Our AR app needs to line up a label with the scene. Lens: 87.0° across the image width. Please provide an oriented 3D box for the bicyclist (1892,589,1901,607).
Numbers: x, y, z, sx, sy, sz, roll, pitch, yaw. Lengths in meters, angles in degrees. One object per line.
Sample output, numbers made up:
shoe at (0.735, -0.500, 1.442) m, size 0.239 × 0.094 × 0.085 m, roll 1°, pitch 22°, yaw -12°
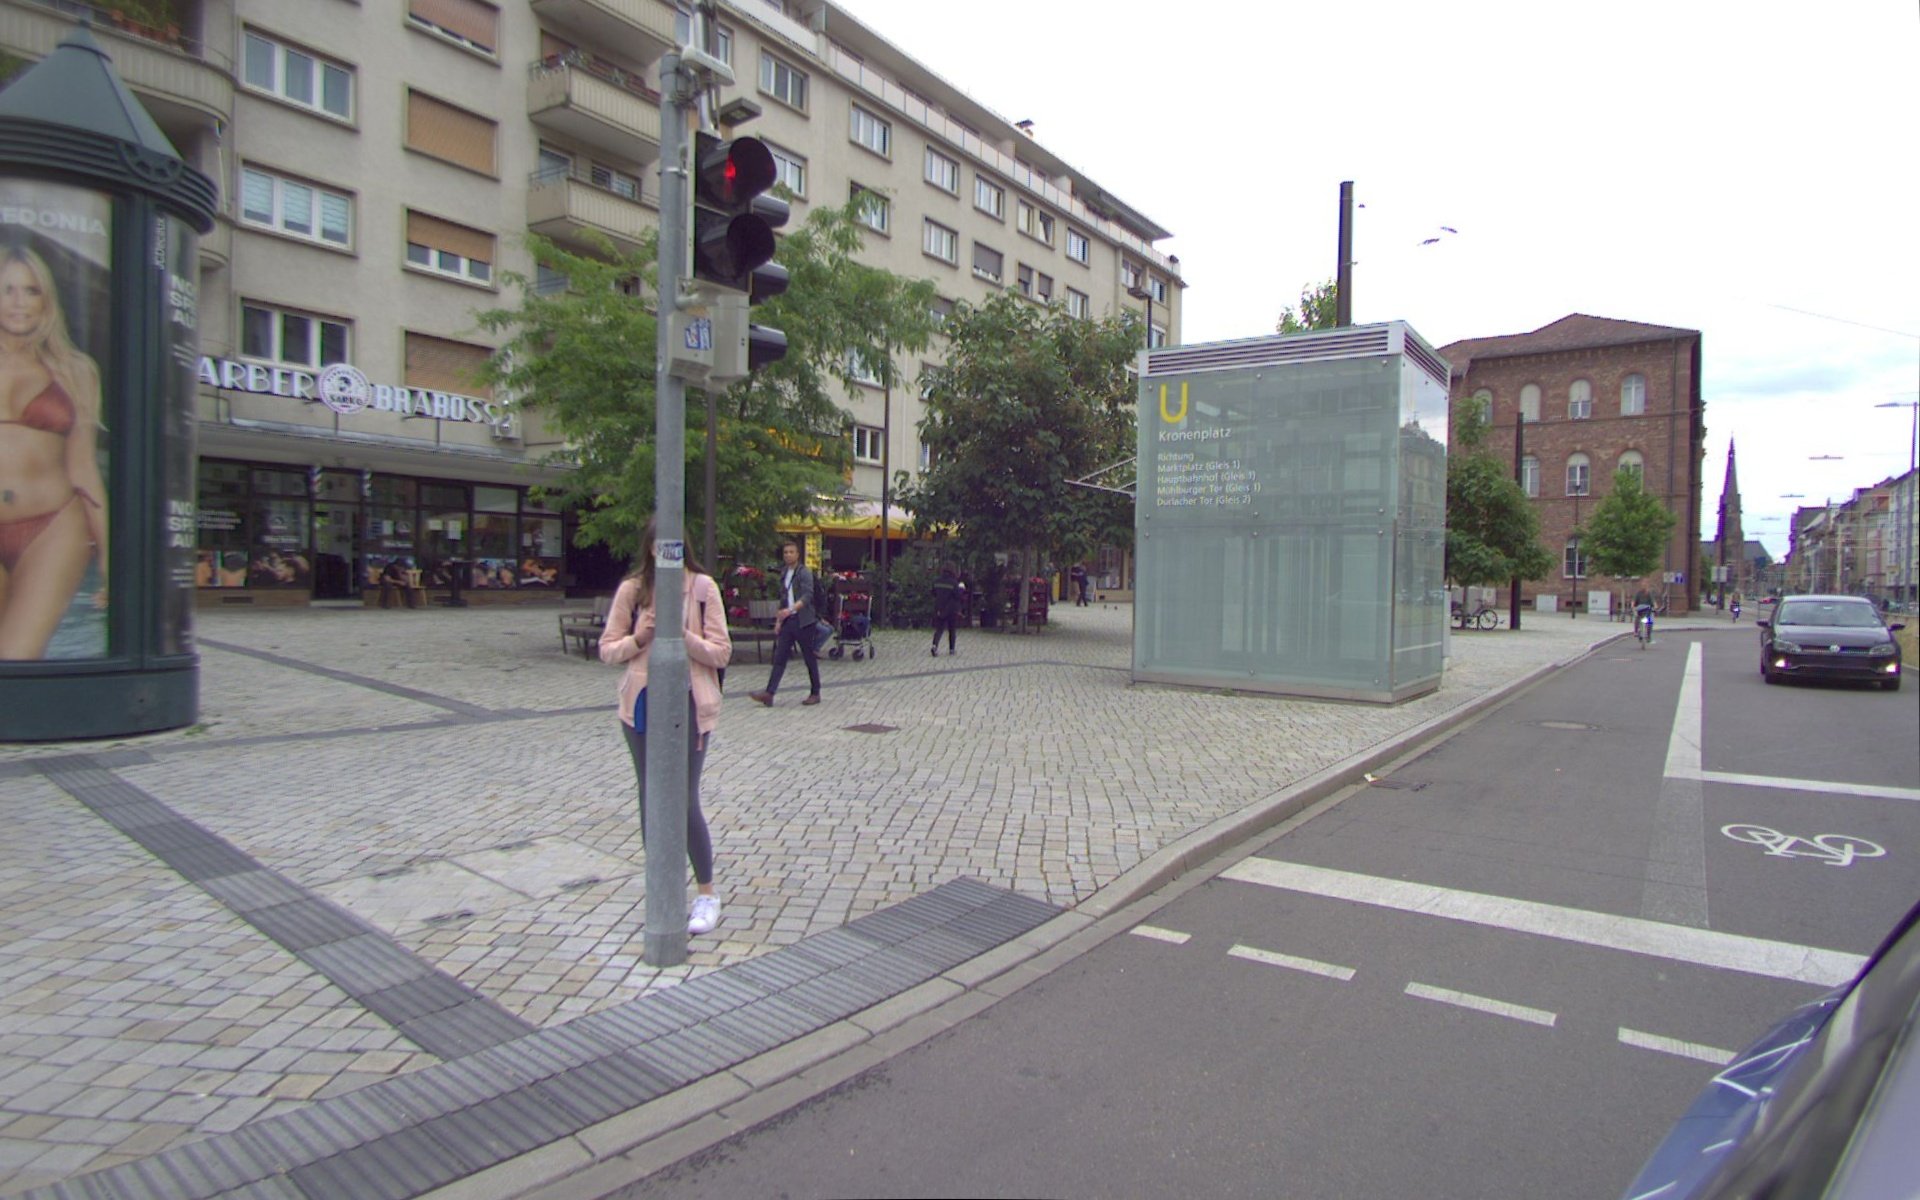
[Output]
bicyclist at (99.781, -0.179, 107.800) m, size 0.644 × 1.907 × 1.014 m, roll 0°, pitch 0°, yaw 38°

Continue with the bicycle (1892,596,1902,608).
bicycle at (99.722, 0.181, 107.685) m, size 0.584 × 1.188 × 2.016 m, roll 4°, pitch 2°, yaw 38°

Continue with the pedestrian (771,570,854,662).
pedestrian at (-2.256, 0.217, 15.427) m, size 1.044 × 1.313 × 0.722 m, roll 4°, pitch 3°, yaw 43°

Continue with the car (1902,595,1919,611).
car at (110.660, 0.361, 117.402) m, size 1.700 × 1.778 × 3.865 m, roll 3°, pitch 2°, yaw 38°

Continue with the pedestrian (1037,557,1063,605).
pedestrian at (3.634, -0.753, 40.867) m, size 0.834 × 1.909 × 0.777 m, roll 0°, pitch 0°, yaw -14°

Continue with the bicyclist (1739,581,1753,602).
bicyclist at (43.953, -0.477, 56.607) m, size 0.584 × 1.186 × 0.654 m, roll 2°, pitch 1°, yaw 36°

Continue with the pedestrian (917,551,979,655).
pedestrian at (-0.198, 0.037, 17.177) m, size 0.623 × 1.705 × 0.860 m, roll 3°, pitch 2°, yaw 33°

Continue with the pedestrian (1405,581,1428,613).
pedestrian at (22.300, -0.139, 49.449) m, size 0.767 × 1.473 × 0.767 m, roll 3°, pitch 2°, yaw 8°

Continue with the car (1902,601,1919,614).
car at (107.546, 0.859, 113.888) m, size 1.641 × 1.398 × 3.394 m, roll 3°, pitch 1°, yaw 34°

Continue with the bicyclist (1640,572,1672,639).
bicyclist at (18.080, 0.127, 26.289) m, size 0.569 × 1.705 × 0.781 m, roll 1°, pitch 1°, yaw 43°

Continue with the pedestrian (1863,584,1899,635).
pedestrian at (36.134, 0.360, 39.718) m, size 0.867 × 1.925 × 0.763 m, roll 3°, pitch 1°, yaw 36°

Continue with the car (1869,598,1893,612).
car at (122.407, 0.609, 134.550) m, size 1.918 × 1.754 × 3.777 m, roll 0°, pitch 1°, yaw 36°

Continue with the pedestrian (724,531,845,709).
pedestrian at (-1.920, 0.191, 11.126) m, size 0.712 × 1.824 × 1.064 m, roll 5°, pitch 3°, yaw 36°

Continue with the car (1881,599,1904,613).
car at (115.746, 0.695, 125.628) m, size 1.697 × 1.692 × 4.124 m, roll 0°, pitch 1°, yaw 38°

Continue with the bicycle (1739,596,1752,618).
bicycle at (43.986, 0.362, 56.683) m, size 0.470 × 1.173 × 2.243 m, roll 2°, pitch 1°, yaw 36°

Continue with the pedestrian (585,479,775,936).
pedestrian at (-1.189, 0.414, 4.343) m, size 0.519 × 1.784 × 0.595 m, roll 0°, pitch 0°, yaw 29°

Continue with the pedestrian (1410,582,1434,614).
pedestrian at (22.175, -0.112, 48.580) m, size 0.767 × 1.473 × 0.767 m, roll 3°, pitch 2°, yaw 8°

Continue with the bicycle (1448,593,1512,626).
bicycle at (18.369, 0.308, 35.778) m, size 0.634 × 1.137 × 1.917 m, roll 0°, pitch 0°, yaw -41°

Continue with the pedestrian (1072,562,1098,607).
pedestrian at (5.098, -0.656, 41.272) m, size 0.703 × 1.773 × 0.778 m, roll 2°, pitch 2°, yaw -14°

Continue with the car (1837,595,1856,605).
car at (139.745, -0.015, 159.526) m, size 1.859 × 1.582 × 3.947 m, roll 4°, pitch 3°, yaw 37°

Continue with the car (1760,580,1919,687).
car at (14.535, 0.475, 16.797) m, size 1.737 × 1.566 × 3.604 m, roll 1°, pitch 1°, yaw 35°

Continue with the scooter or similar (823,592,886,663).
scooter or similar at (-1.659, 0.405, 15.684) m, size 0.709 × 0.960 × 1.596 m, roll 2°, pitch 2°, yaw -15°

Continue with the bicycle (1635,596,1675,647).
bicycle at (18.087, 0.539, 26.320) m, size 0.523 × 1.276 × 1.911 m, roll 2°, pitch 1°, yaw 44°

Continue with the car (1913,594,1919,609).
car at (98.054, 0.199, 102.439) m, size 1.820 × 1.540 × 4.483 m, roll 3°, pitch 1°, yaw 37°
